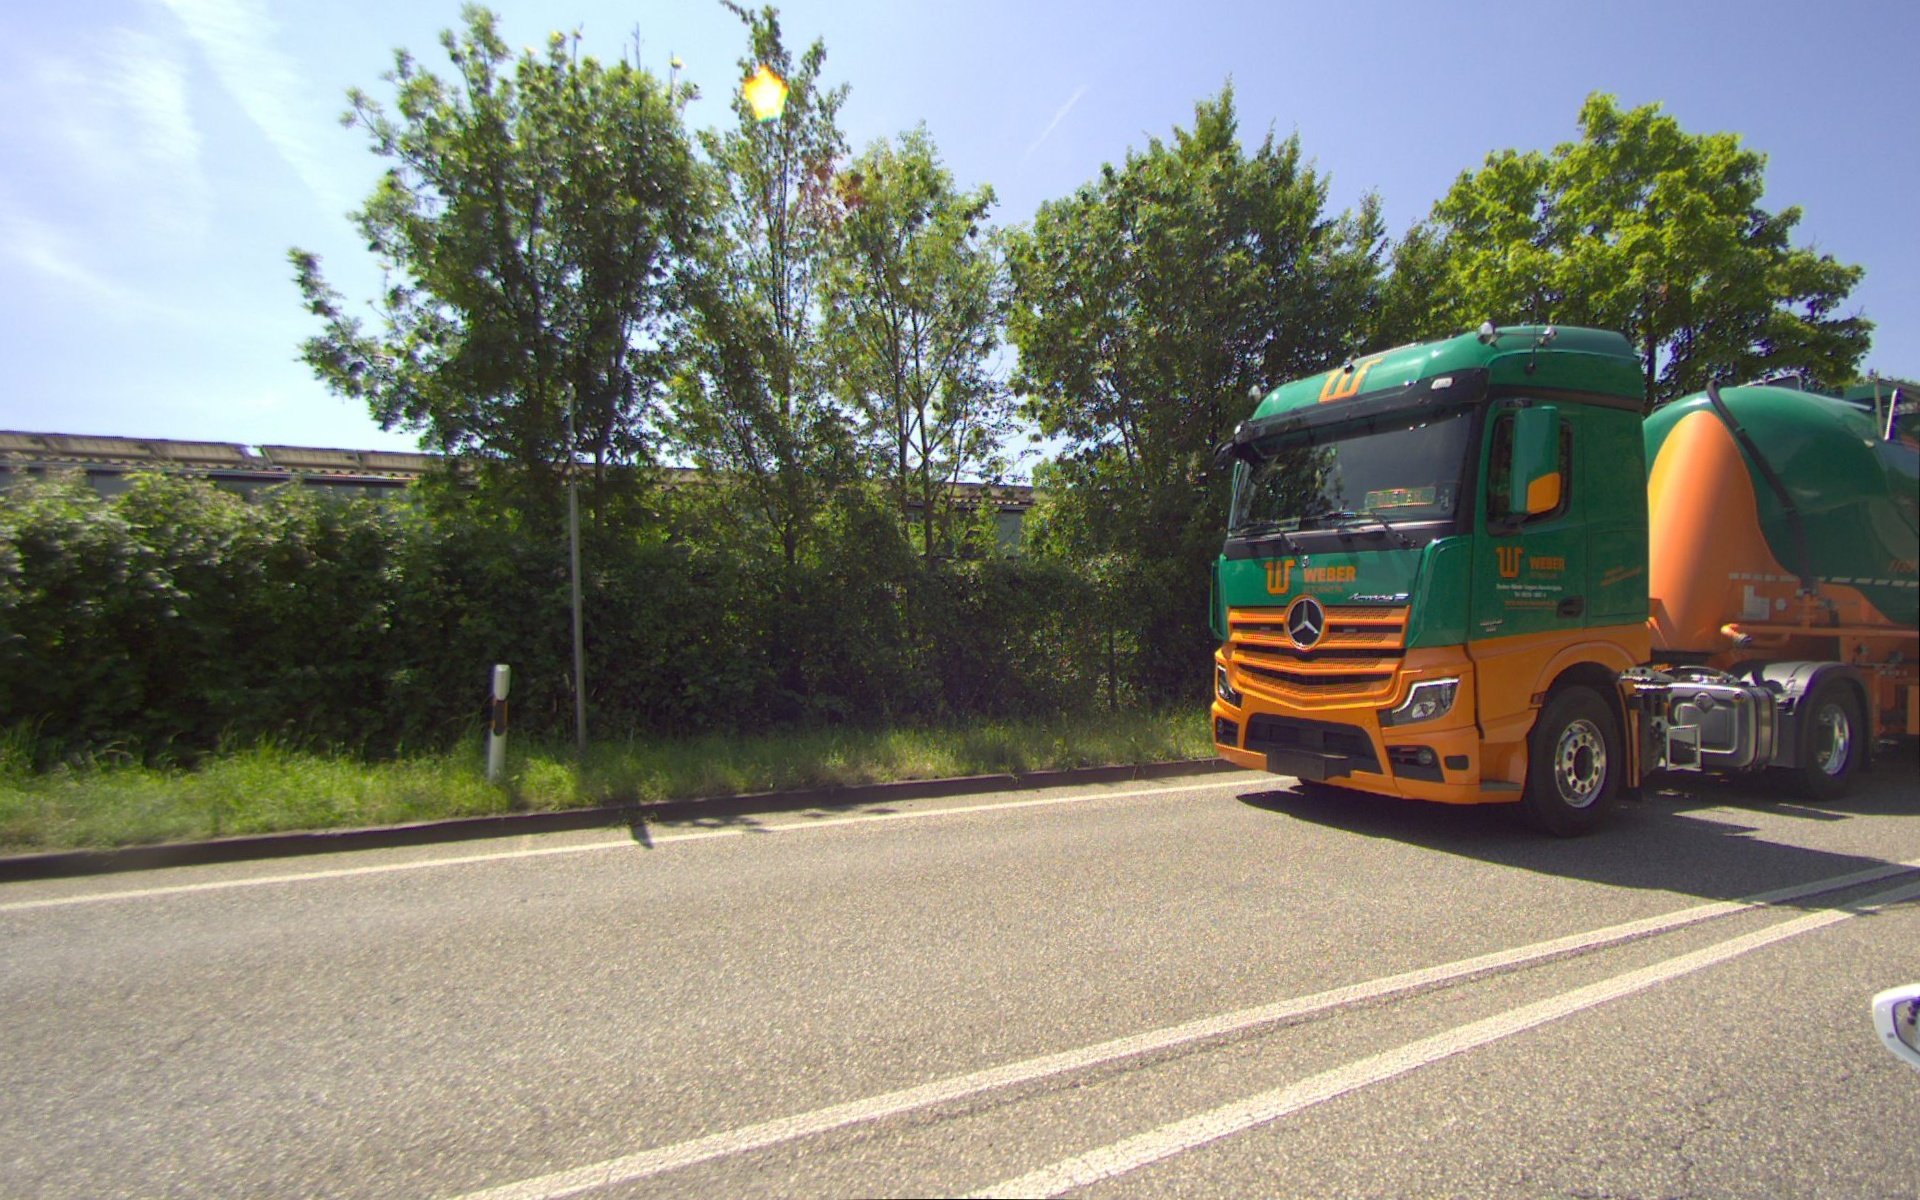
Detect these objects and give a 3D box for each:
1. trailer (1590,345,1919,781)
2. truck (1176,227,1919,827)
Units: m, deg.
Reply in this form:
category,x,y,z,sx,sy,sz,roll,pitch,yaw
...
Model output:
category,x,y,z,sx,sy,sz,roll,pitch,yaw
trailer,11.562,-0.248,12.054,8.798,3.870,2.569,1,0,-27
truck,5.893,-0.383,9.182,7.773,3.729,2.569,1,0,-27
